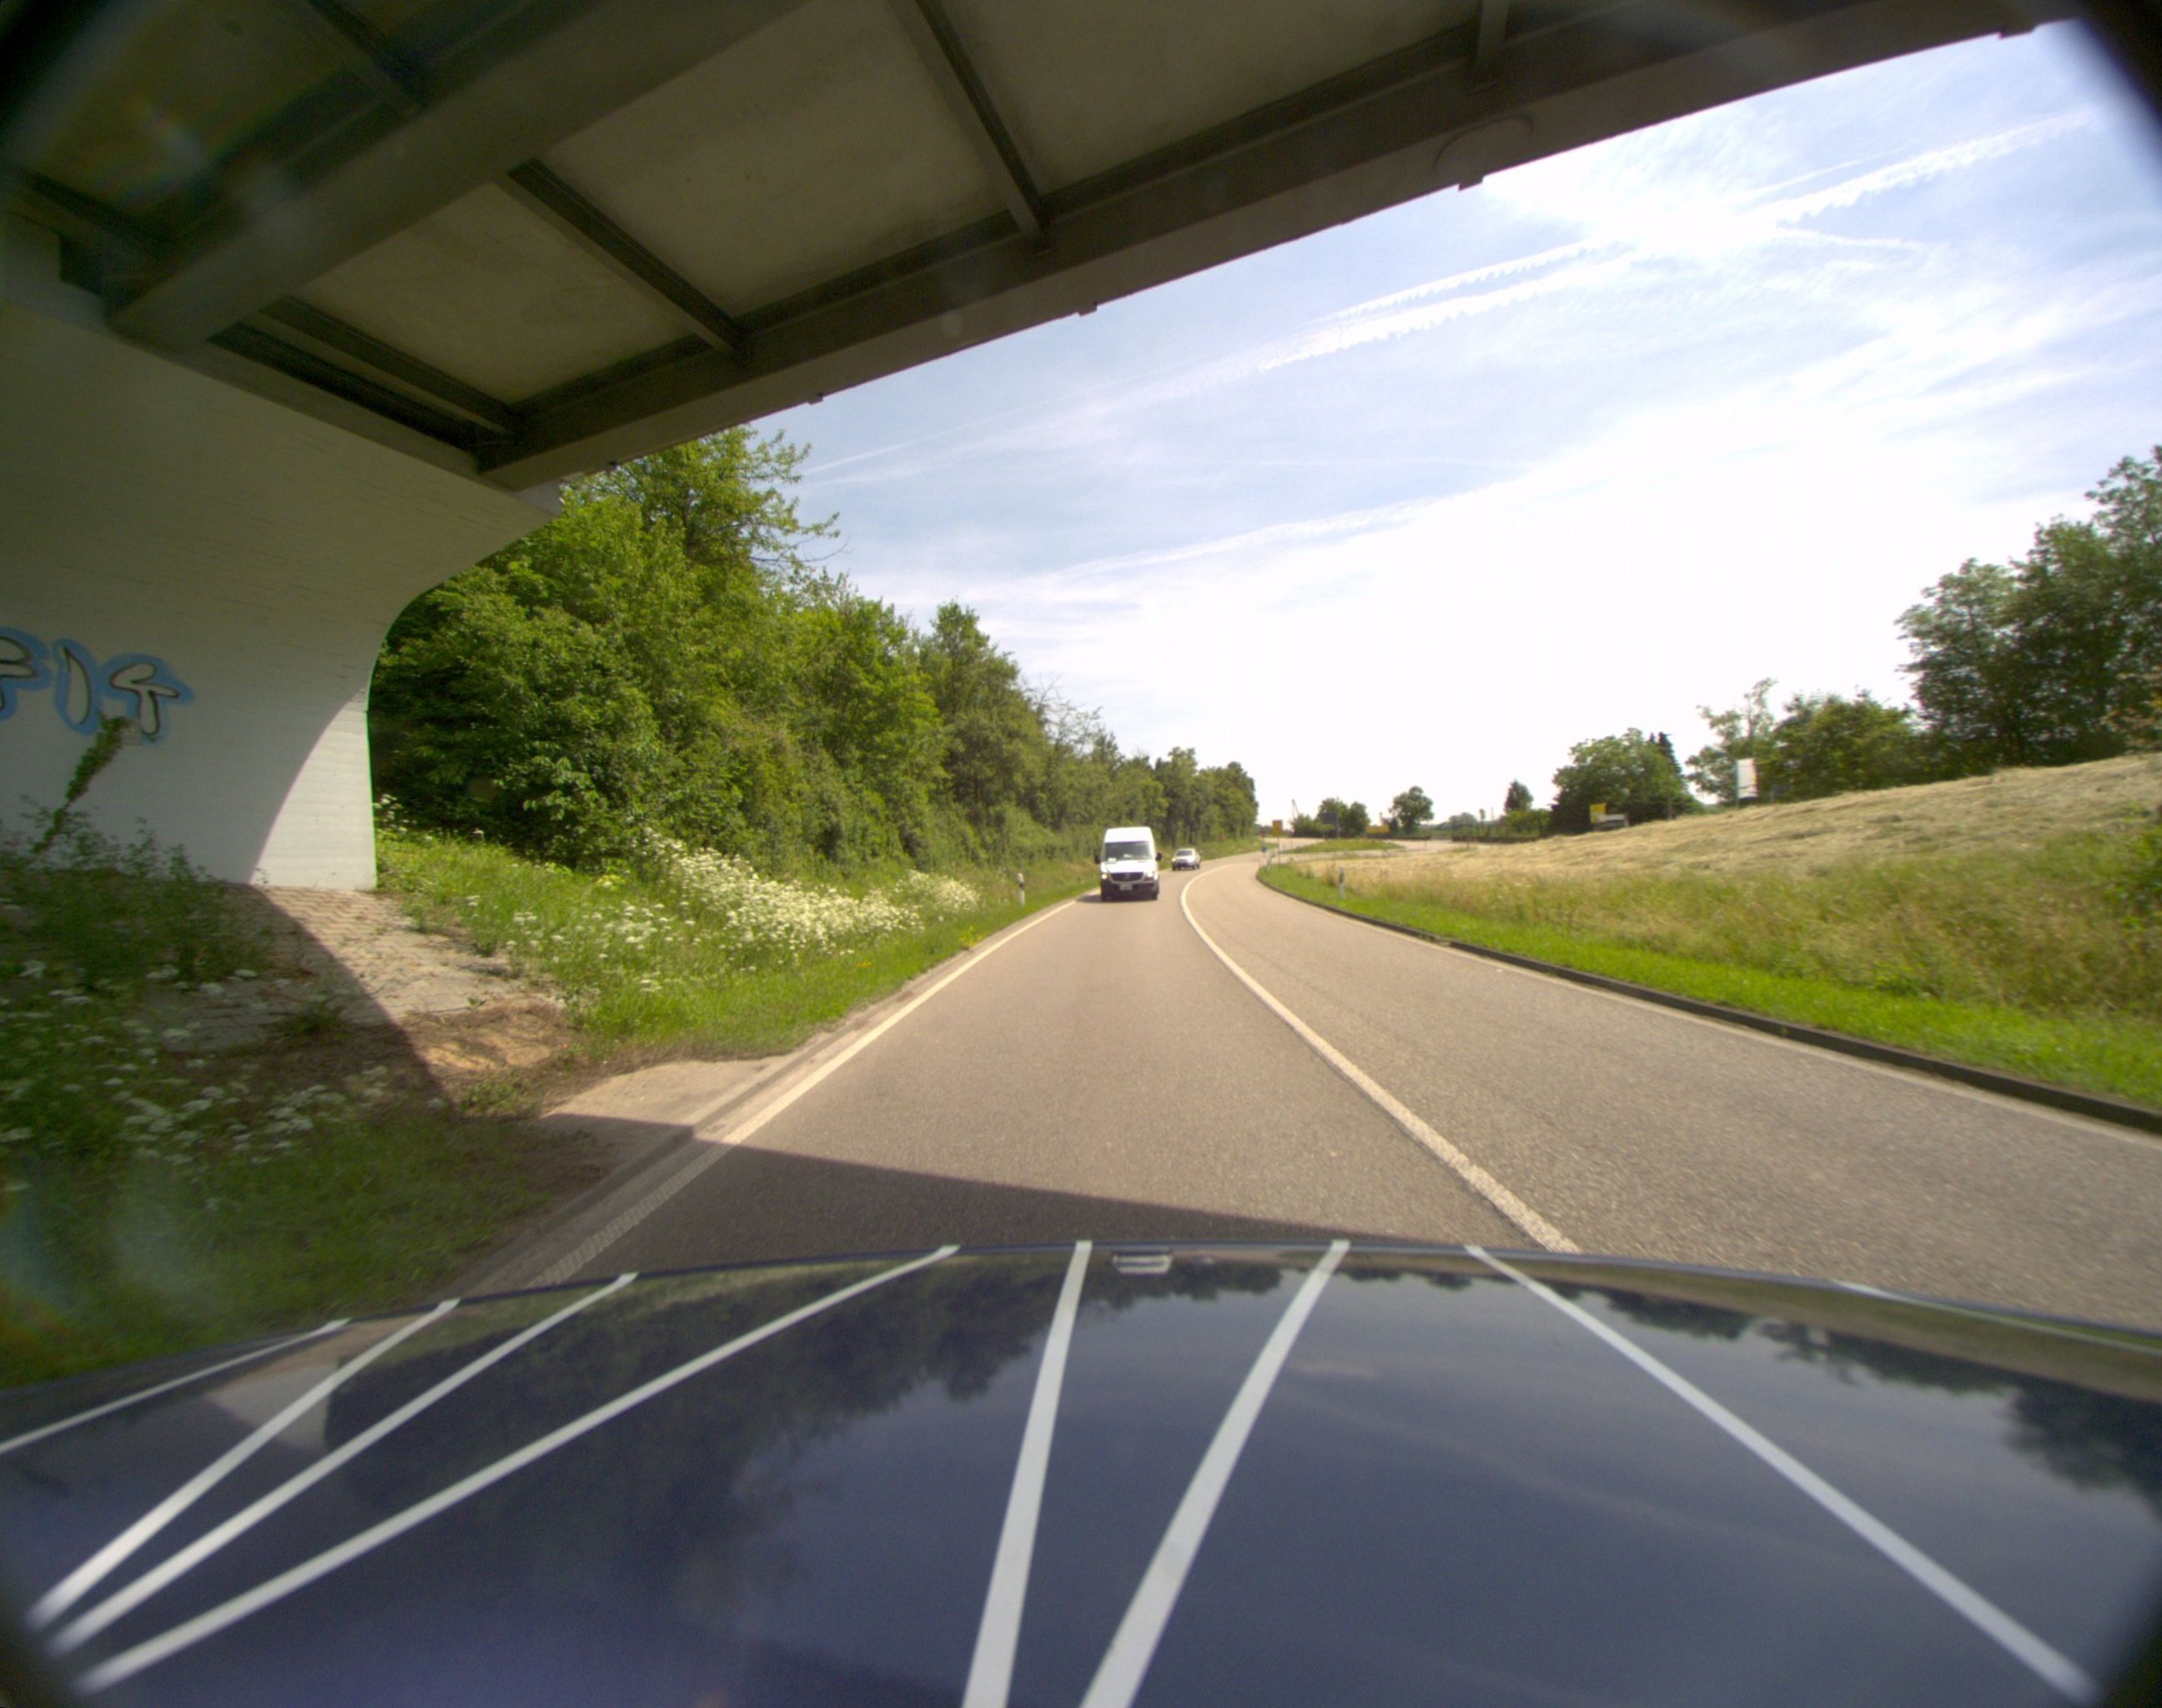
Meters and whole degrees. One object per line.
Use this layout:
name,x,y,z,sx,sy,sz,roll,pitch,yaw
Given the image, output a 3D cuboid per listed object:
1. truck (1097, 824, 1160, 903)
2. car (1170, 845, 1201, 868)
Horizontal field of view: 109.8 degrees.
truck,1.885,0.285,28.254,1.997,2.571,5.889,-2,1,6
car,8.419,0.150,60.753,1.847,1.698,4.093,-2,1,15
